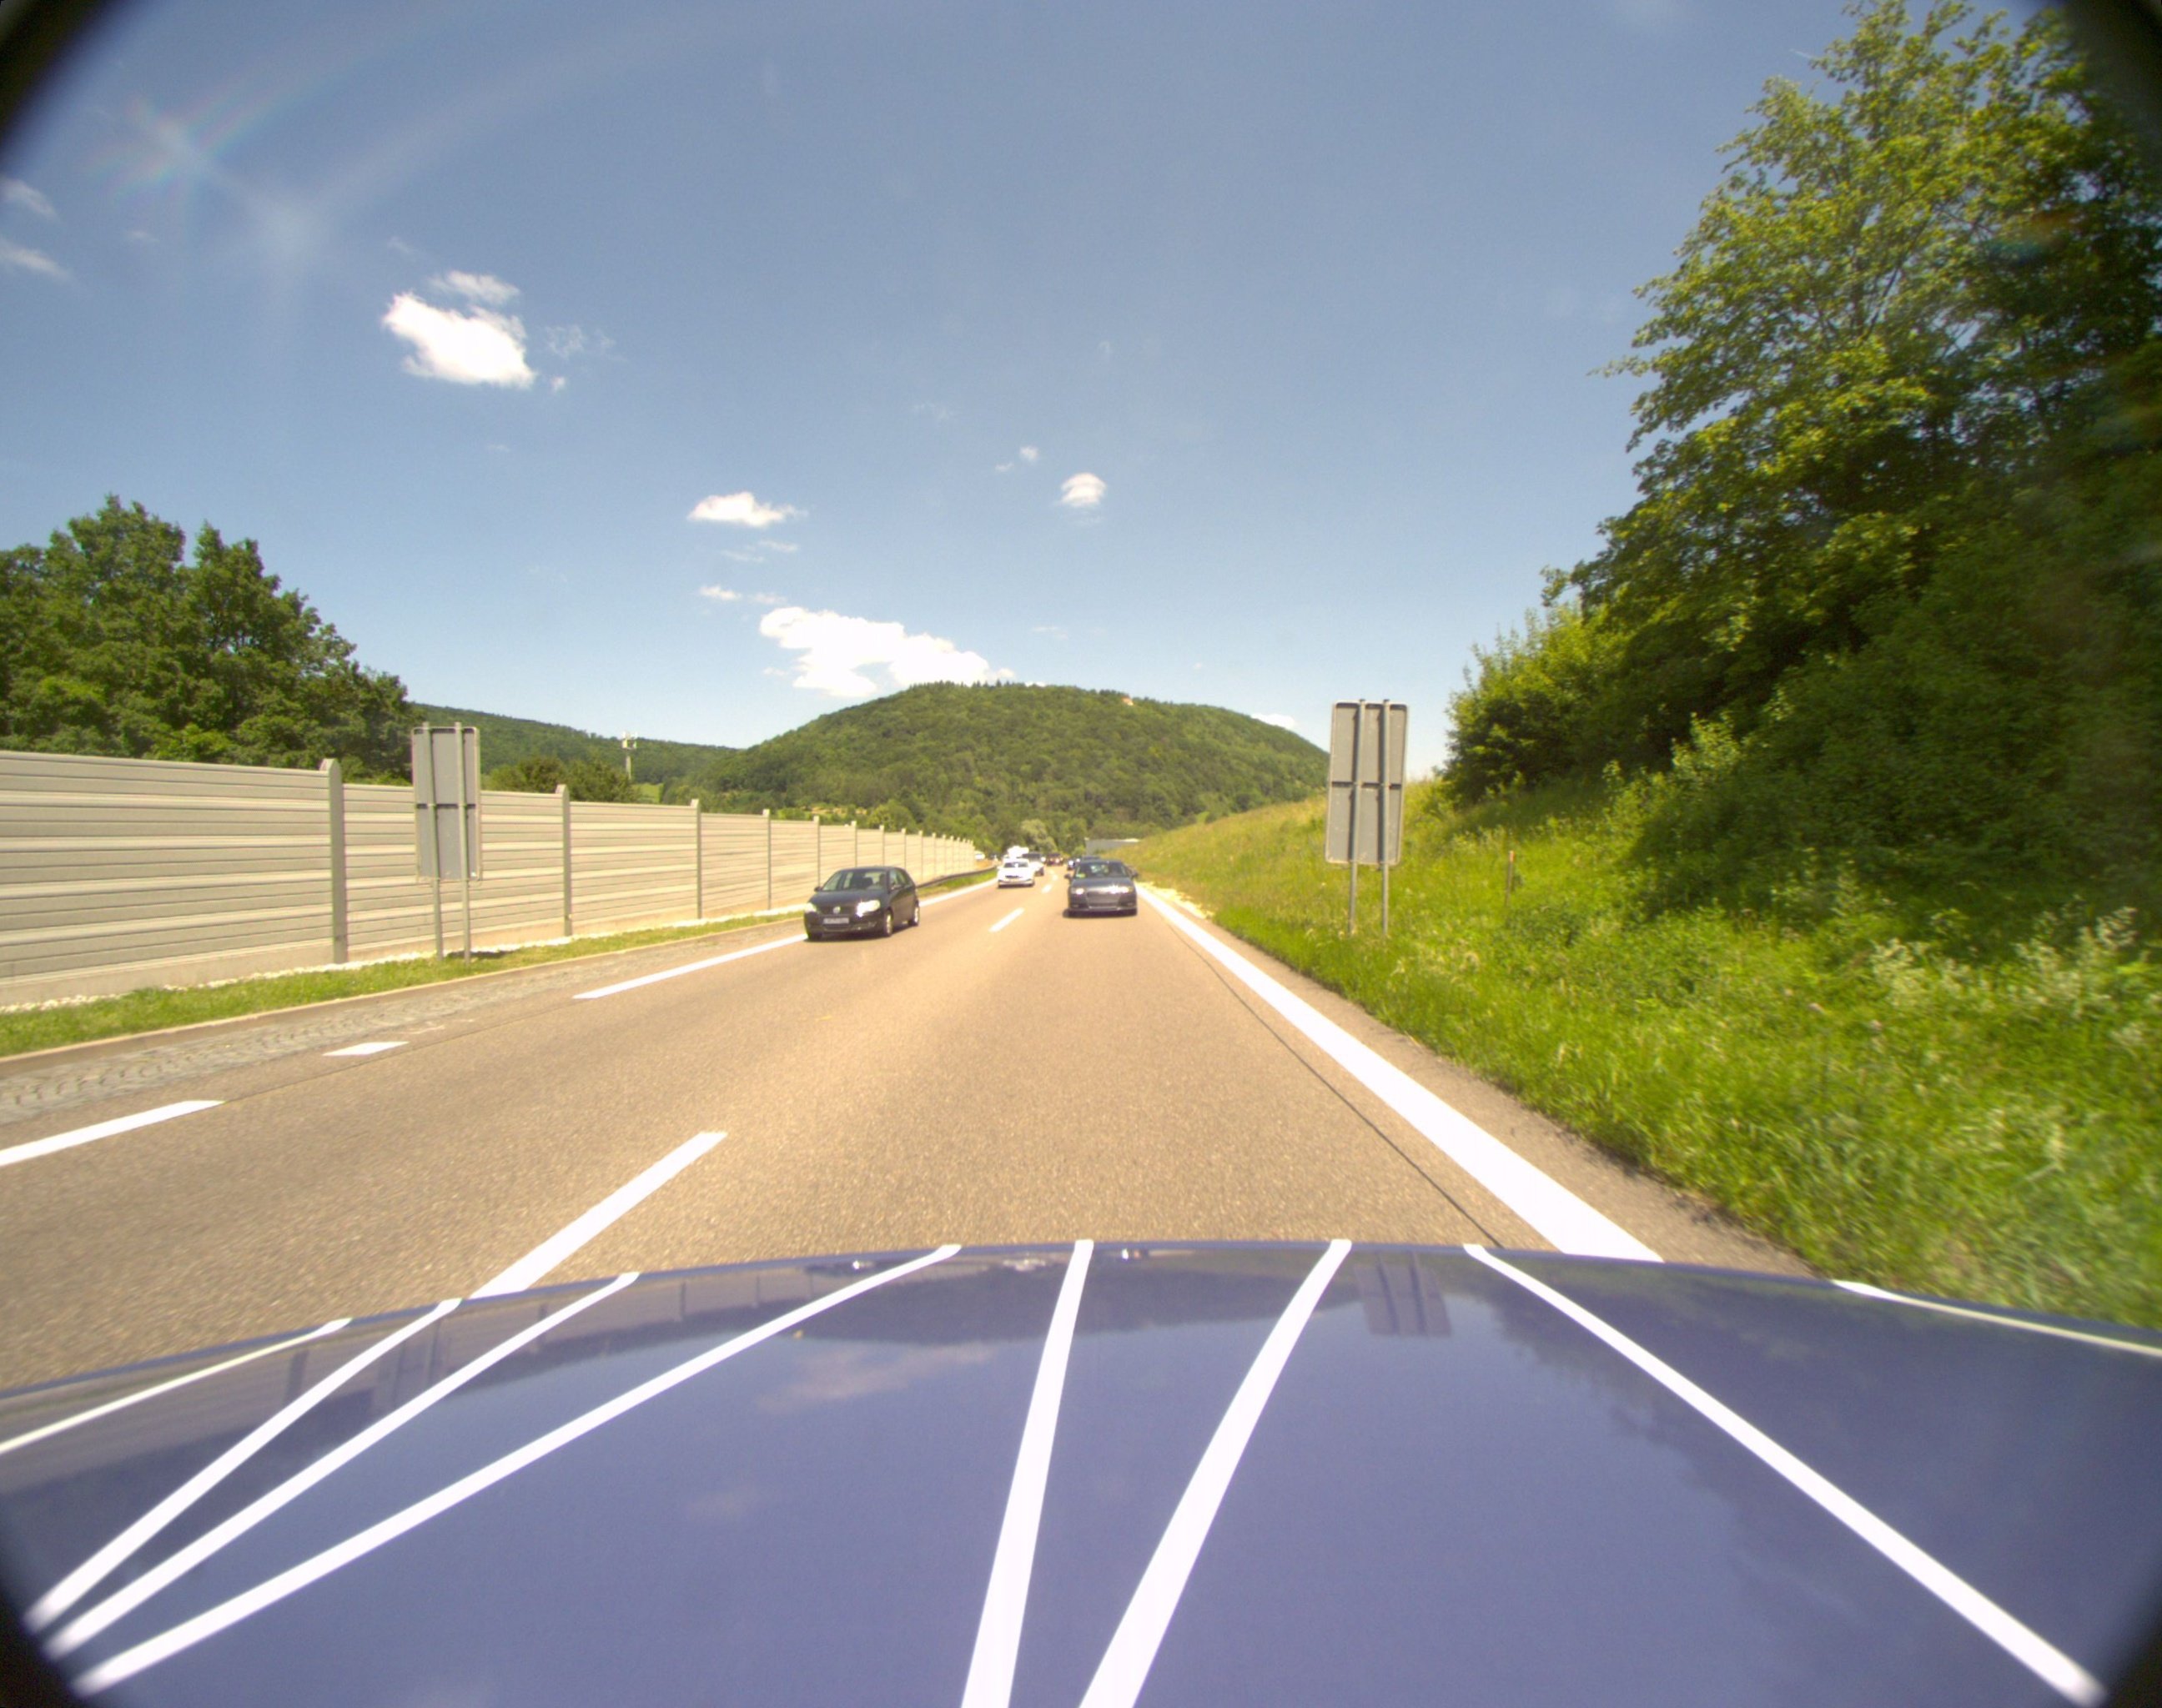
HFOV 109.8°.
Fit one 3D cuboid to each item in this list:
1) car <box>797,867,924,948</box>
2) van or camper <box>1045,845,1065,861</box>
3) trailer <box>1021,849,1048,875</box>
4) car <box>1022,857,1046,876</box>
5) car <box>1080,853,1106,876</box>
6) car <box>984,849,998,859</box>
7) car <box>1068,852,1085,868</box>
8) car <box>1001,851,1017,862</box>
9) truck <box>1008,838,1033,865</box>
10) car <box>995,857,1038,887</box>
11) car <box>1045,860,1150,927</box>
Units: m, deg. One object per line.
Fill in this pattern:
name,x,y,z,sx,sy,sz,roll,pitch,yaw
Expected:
car,-4.614,1.054,16.466,1.696,1.414,3.837,-2,0,-2
van or camper,-3.415,-0.124,98.636,1.819,1.855,3.609,-3,1,-13
trailer,-3.812,0.586,61.551,1.999,1.958,3.997,-2,1,-6
car,-3.543,0.936,57.834,1.488,1.375,3.738,-1,0,1
car,0.837,0.676,51.989,1.695,1.422,3.463,-2,0,2
car,-19.519,-0.036,164.973,2.002,2.002,3.993,-3,1,-19
car,-0.413,0.547,73.216,1.286,1.306,3.453,-4,1,4
car,-11.289,0.370,119.001,1.700,1.523,3.675,-5,1,-18
truck,-7.848,-0.304,97.792,2.604,3.089,6.853,-5,1,-7
car,-3.348,0.923,39.986,1.907,1.422,3.721,-2,1,0
car,0.286,0.893,18.954,1.757,1.382,4.051,-3,0,-11
